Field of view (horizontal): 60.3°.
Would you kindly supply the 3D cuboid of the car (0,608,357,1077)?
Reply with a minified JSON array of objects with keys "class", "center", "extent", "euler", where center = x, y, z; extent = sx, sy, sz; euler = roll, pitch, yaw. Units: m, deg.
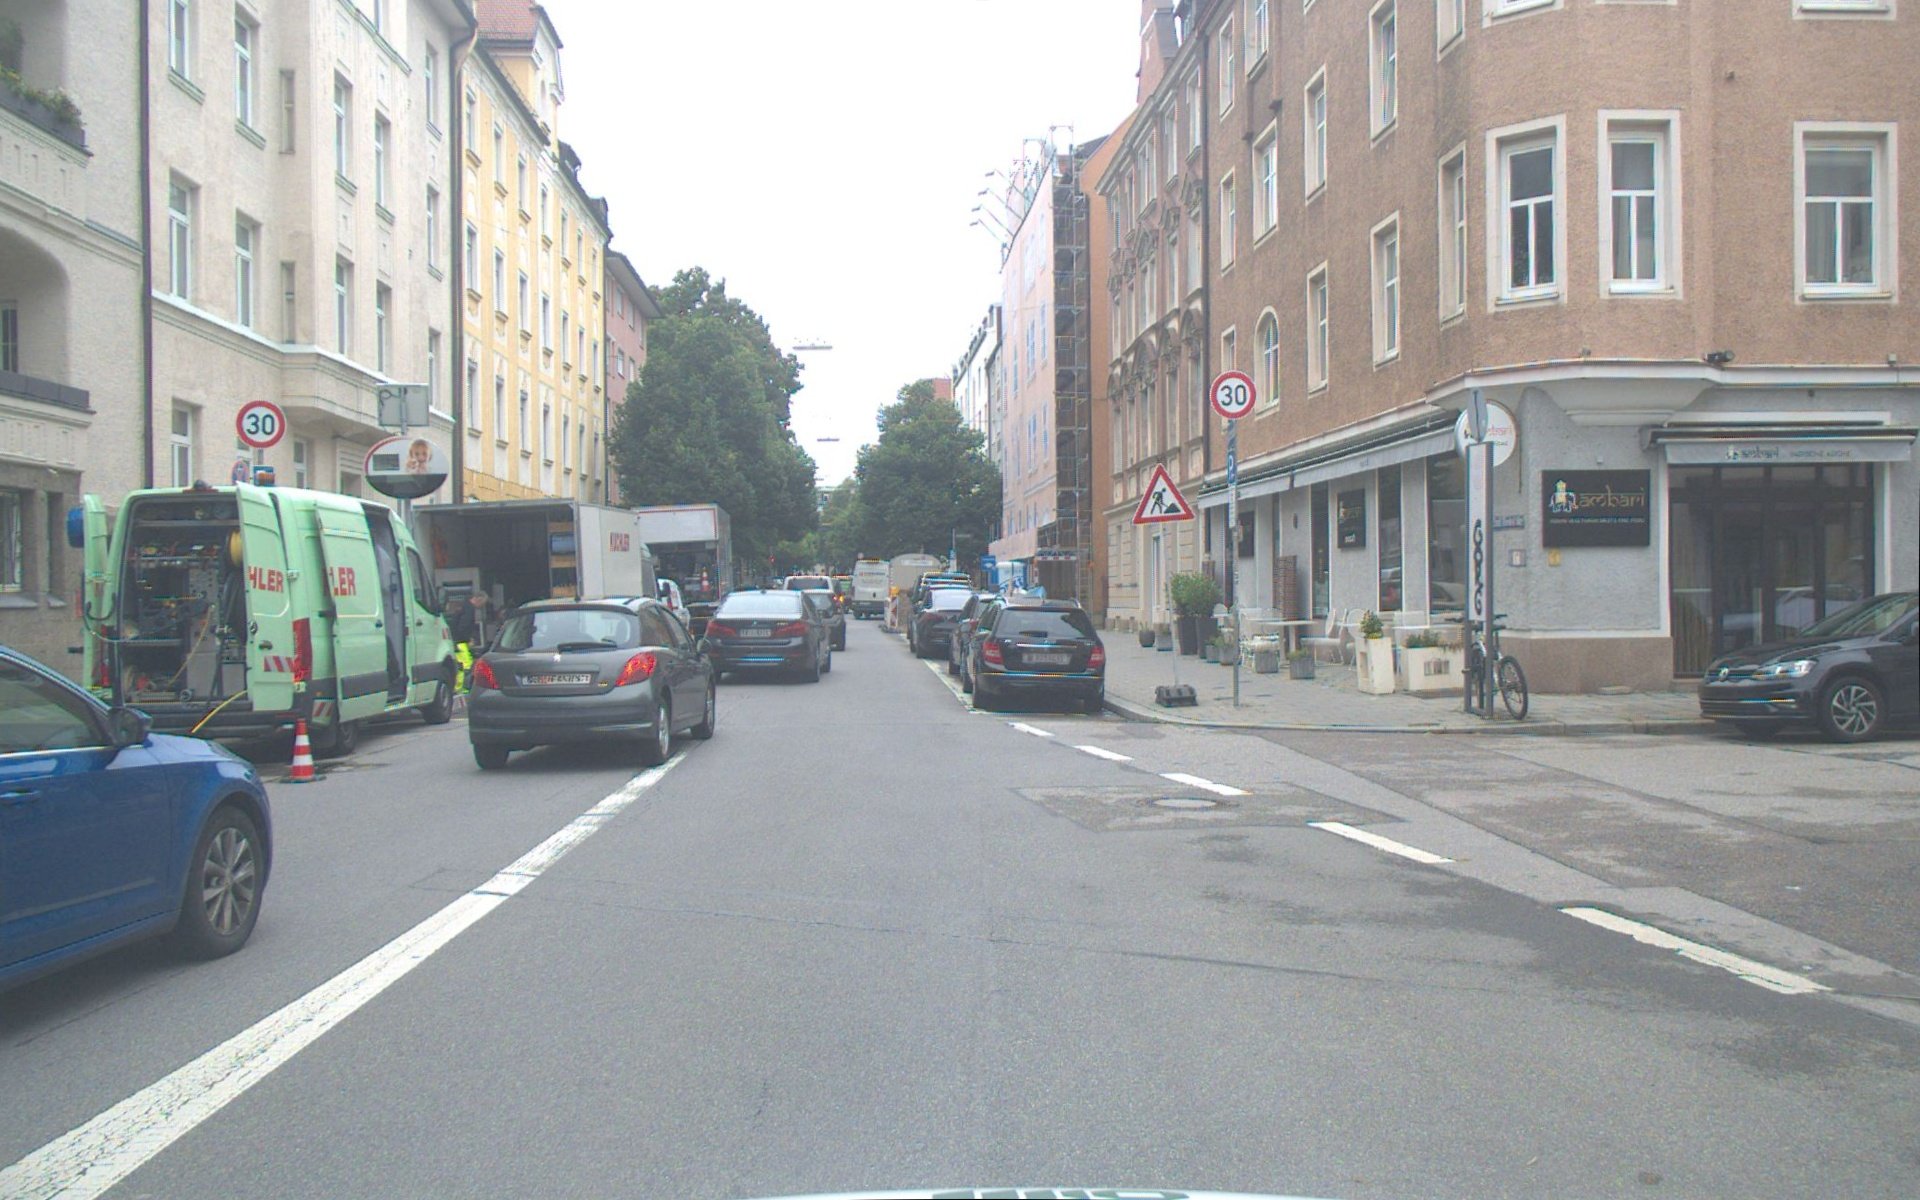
[{"class":"car","center":[-3.993,0.780,5.452],"extent":[1.945,1.479,4.737],"euler":[-1,0,5]}]

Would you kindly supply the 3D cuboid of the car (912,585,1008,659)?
[{"class":"car","center":[-0.067,0.454,37.354],"extent":[1.808,1.454,4.303],"euler":[2,1,-4]}]

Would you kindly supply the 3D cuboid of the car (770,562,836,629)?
[{"class":"car","center":[-5.226,-0.190,55.493],"extent":[1.950,2.111,4.139],"euler":[-1,1,-3]}]

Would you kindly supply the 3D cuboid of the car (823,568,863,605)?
[{"class":"car","center":[-6.316,-0.729,89.979],"extent":[1.953,1.937,3.999],"euler":[0,0,-1]}]

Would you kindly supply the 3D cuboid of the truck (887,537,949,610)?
[{"class":"truck","center":[-1.844,-1.106,71.152],"extent":[2.442,3.025,5.324],"euler":[0,0,-4]}]

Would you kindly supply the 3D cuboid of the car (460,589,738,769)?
[{"class":"car","center":[-3.313,0.652,15.948],"extent":[1.722,1.486,4.074],"euler":[-1,0,1]}]

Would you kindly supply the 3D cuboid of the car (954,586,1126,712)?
[{"class":"car","center":[0.991,0.598,22.707],"extent":[1.808,1.454,4.180],"euler":[2,1,-4]}]

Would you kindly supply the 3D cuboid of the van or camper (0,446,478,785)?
[{"class":"van or camper","center":[-7.127,0.060,17.341],"extent":[2.548,2.889,6.183],"euler":[-1,1,-3]}]

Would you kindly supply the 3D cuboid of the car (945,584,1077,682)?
[{"class":"car","center":[0.803,0.520,28.716],"extent":[1.808,1.454,4.137],"euler":[2,1,-4]}]

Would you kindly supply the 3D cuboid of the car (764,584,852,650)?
[{"class":"car","center":[-3.685,0.378,40.725],"extent":[1.950,1.454,4.139],"euler":[-1,1,-3]}]

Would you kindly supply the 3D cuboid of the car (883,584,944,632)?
[{"class":"car","center":[-1.568,0.222,54.876],"extent":[1.950,1.454,4.139],"euler":[-1,1,-3]}]

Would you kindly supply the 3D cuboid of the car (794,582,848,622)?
[{"class":"car","center":[-5.425,0.035,64.970],"extent":[1.950,1.454,4.139],"euler":[-1,1,-3]}]

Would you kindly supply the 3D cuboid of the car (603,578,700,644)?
[{"class":"car","center":[-8.030,0.268,43.409],"extent":[1.950,1.639,4.138],"euler":[0,0,-3]}]

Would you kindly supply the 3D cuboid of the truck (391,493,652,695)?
[{"class":"truck","center":[-7.061,-0.168,27.752],"extent":[2.718,2.923,7.198],"euler":[-1,1,-3]}]

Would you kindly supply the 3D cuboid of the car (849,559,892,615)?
[{"class":"car","center":[-4.184,-0.617,77.977],"extent":[1.900,2.523,4.781],"euler":[0,0,-2]}]

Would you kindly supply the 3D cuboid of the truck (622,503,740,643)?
[{"class":"truck","center":[-8.461,-0.801,50.904],"extent":[2.953,4.021,6.989],"euler":[0,0,-5]}]

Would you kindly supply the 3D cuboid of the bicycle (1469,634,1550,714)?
[{"class":"bicycle","center":[6.054,0.804,18.274],"extent":[0.447,0.819,1.326],"euler":[0,0,-1]}]

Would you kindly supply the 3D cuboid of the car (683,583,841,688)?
[{"class":"car","center":[-3.180,0.514,27.527],"extent":[1.949,1.454,4.906],"euler":[-2,1,1]}]

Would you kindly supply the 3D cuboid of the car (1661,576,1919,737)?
[{"class":"car","center":[9.356,0.525,16.263],"extent":[4.086,1.454,1.924],"euler":[-1,-2,-3]}]

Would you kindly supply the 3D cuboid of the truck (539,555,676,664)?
[{"class":"truck","center":[-7.583,0.178,36.033],"extent":[2.241,2.209,4.803],"euler":[0,0,-4]}]

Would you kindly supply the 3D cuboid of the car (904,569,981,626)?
[{"class":"car","center":[-0.513,-0.107,45.223],"extent":[1.950,1.454,4.139],"euler":[-1,1,-3]}]

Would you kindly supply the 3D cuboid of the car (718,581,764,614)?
[{"class":"car","center":[-10.320,-0.128,78.032],"extent":[1.901,1.473,3.863],"euler":[0,0,-4]}]
